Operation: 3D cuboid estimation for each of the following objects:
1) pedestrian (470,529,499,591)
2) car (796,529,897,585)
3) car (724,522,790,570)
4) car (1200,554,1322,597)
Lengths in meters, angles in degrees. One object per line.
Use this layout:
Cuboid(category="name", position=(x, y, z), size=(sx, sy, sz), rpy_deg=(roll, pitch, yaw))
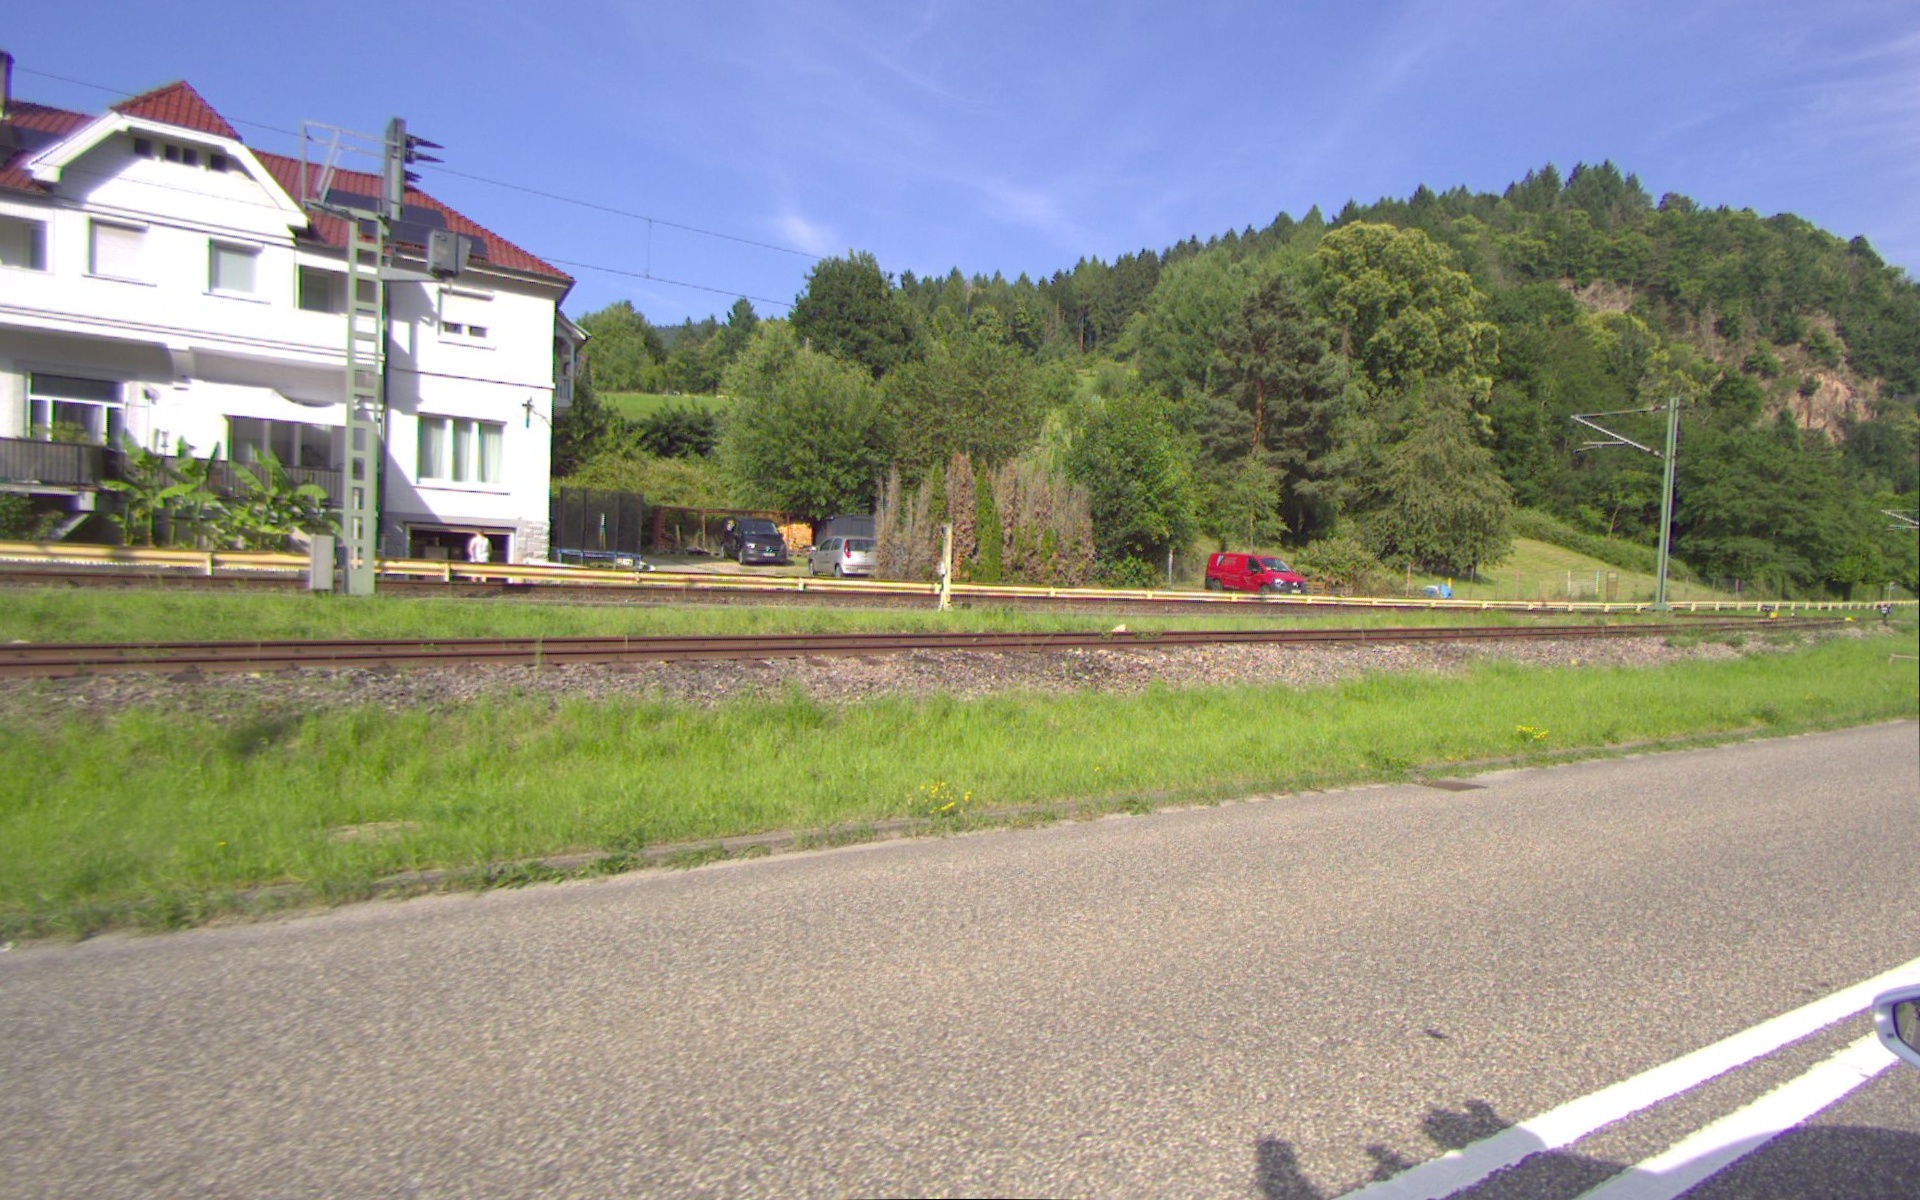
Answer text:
Cuboid(category="pedestrian", position=(-12.775, -1.070, 26.998), size=(0.602, 1.638, 0.672), rpy_deg=(1, 2, -32))
Cuboid(category="car", position=(-3.921, -1.452, 34.052), size=(1.975, 1.714, 4.127), rpy_deg=(2, 2, -28))
Cuboid(category="car", position=(-8.639, -2.322, 42.499), size=(1.795, 1.814, 3.974), rpy_deg=(2, 4, -25))
Cuboid(category="car", position=(13.219, -1.108, 44.451), size=(2.423, 1.714, 4.947), rpy_deg=(2, 1, -26))
